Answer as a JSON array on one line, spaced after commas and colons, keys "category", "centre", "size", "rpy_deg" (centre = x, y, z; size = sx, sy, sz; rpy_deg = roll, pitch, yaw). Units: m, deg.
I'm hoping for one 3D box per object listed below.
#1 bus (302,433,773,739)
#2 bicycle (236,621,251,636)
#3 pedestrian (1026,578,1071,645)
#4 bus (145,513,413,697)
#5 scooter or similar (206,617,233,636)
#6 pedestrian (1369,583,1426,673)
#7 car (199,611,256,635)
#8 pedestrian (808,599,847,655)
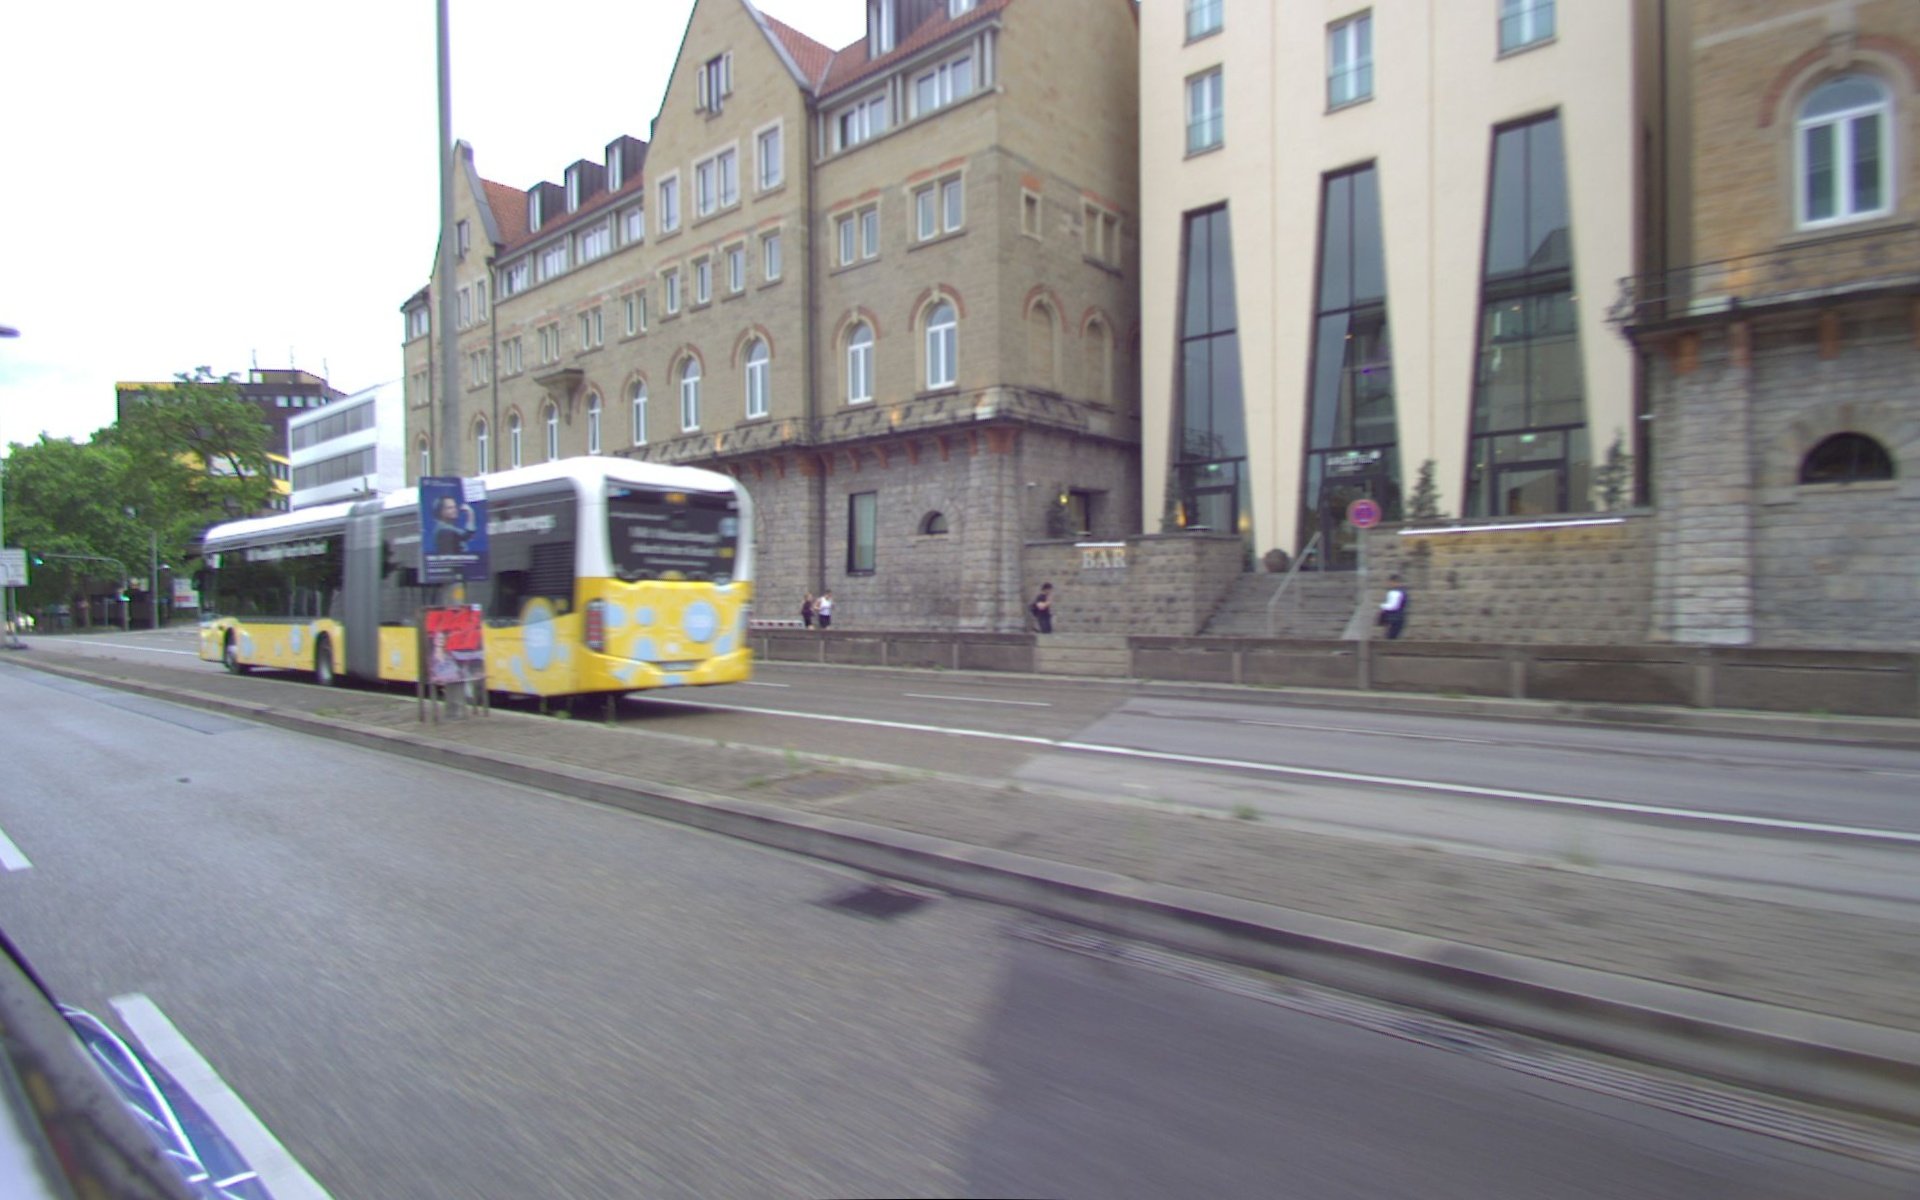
[{"category": "bus", "centre": [-7.249, -0.082, 16.144], "size": [10.086, 3.586, 2.671], "rpy_deg": [-1, -2, 41]}, {"category": "bicycle", "centre": [-49.197, 1.963, 69.456], "size": [1.757, 0.999, 0.452], "rpy_deg": [-2, -1, 41]}, {"category": "pedestrian", "centre": [2.034, 0.276, 23.263], "size": [0.713, 1.489, 0.746], "rpy_deg": [-3, -3, 40]}, {"category": "bus", "centre": [-16.453, 0.229, 24.013], "size": [10.086, 3.586, 2.671], "rpy_deg": [-2, -2, 40]}, {"category": "scooter or similar", "centre": [-52.599, 1.883, 71.894], "size": [0.366, 1.256, 1.750], "rpy_deg": [-2, 2, 11]}, {"category": "pedestrian", "centre": [7.458, 0.490, 17.271], "size": [0.750, 1.489, 0.710], "rpy_deg": [-2, -2, 16]}, {"category": "car", "centre": [-61.475, 1.905, 85.037], "size": [1.967, 1.666, 4.855], "rpy_deg": [-3, 1, -11]}, {"category": "pedestrian", "centre": [-3.571, 0.727, 27.219], "size": [0.713, 1.489, 0.746], "rpy_deg": [-3, -3, 40]}]
